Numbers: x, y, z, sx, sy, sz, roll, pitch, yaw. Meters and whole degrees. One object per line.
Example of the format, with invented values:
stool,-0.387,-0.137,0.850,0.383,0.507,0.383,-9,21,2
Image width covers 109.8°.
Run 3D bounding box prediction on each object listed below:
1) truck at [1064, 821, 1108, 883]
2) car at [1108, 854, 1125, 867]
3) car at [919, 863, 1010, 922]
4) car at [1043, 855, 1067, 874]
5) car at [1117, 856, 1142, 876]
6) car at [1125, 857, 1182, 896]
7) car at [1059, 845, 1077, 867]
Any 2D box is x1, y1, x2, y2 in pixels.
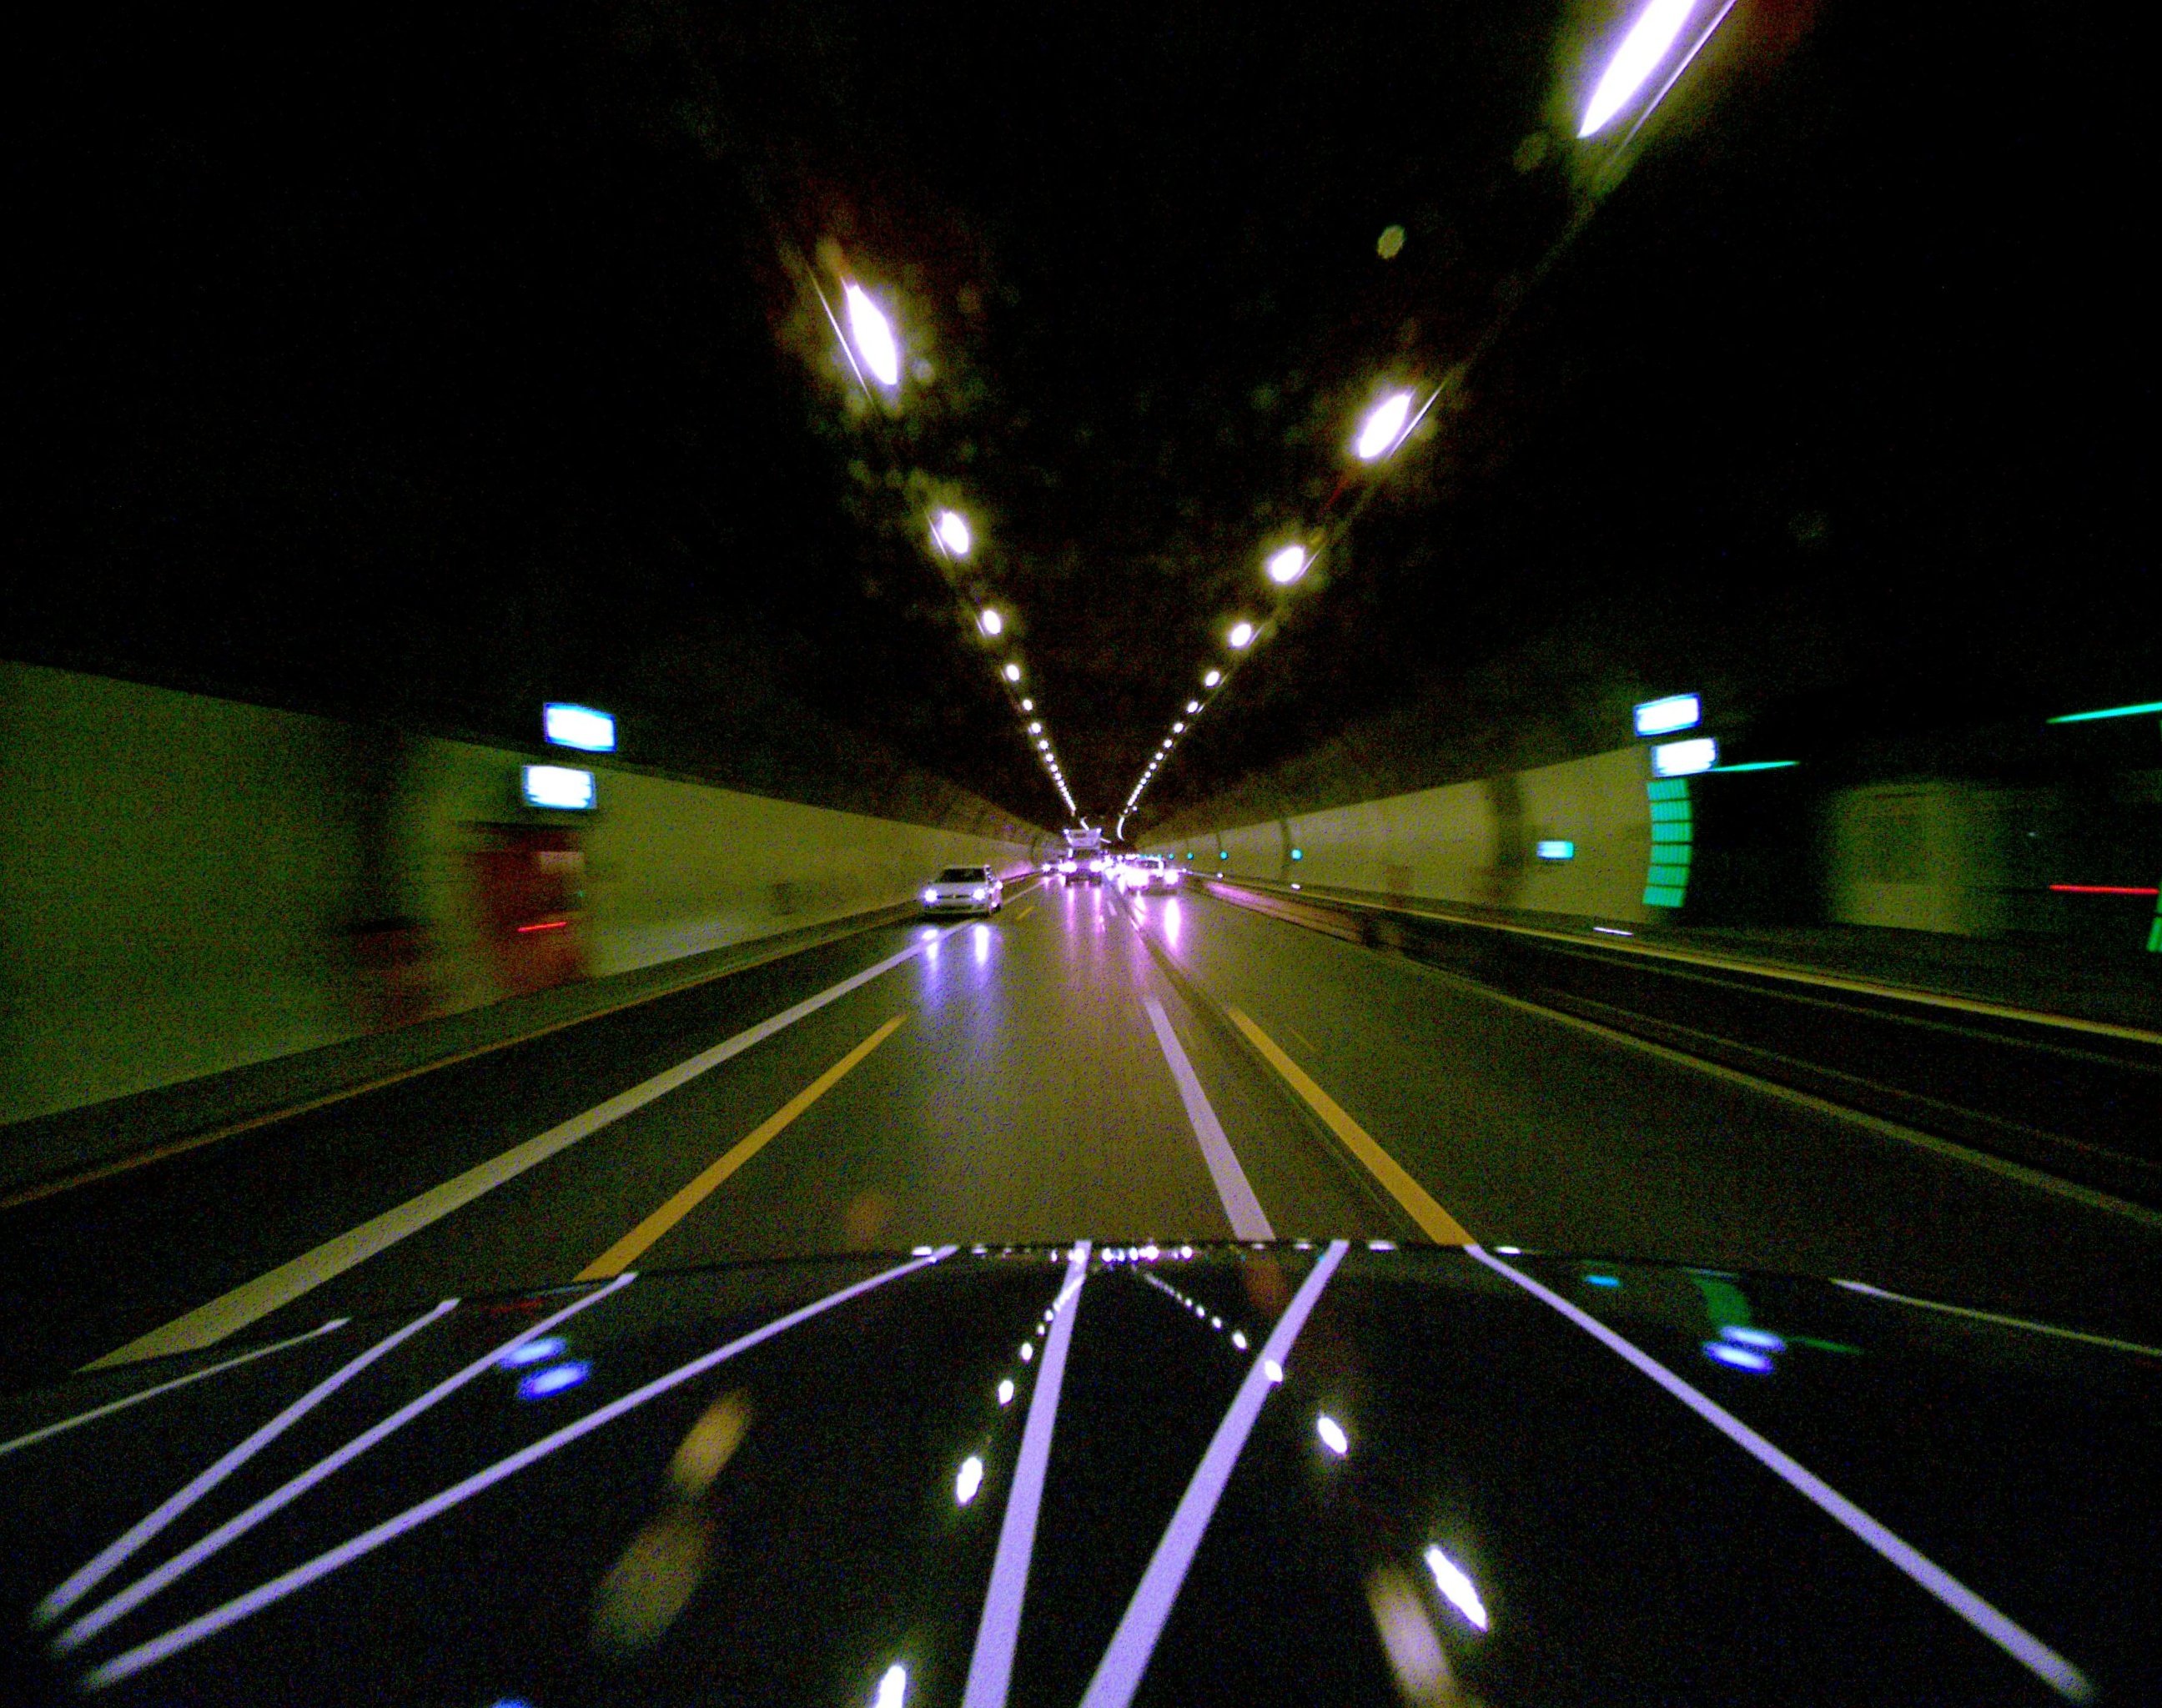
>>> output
truck,0.294,-0.123,44.907,2.262,3.238,7.382,-2,0,0
car,4.697,0.831,101.401,1.958,1.527,4.757,-5,1,0
car,-3.243,1.029,21.910,1.801,1.452,4.035,-2,0,2
car,-2.294,0.887,69.257,1.958,1.527,4.757,-3,1,0
car,3.591,0.908,56.984,1.657,1.395,3.656,-1,0,0
car,2.941,0.882,31.804,1.908,1.476,4.943,-1,0,0
car,-1.685,0.256,98.506,2.124,2.629,6.229,-3,1,0
